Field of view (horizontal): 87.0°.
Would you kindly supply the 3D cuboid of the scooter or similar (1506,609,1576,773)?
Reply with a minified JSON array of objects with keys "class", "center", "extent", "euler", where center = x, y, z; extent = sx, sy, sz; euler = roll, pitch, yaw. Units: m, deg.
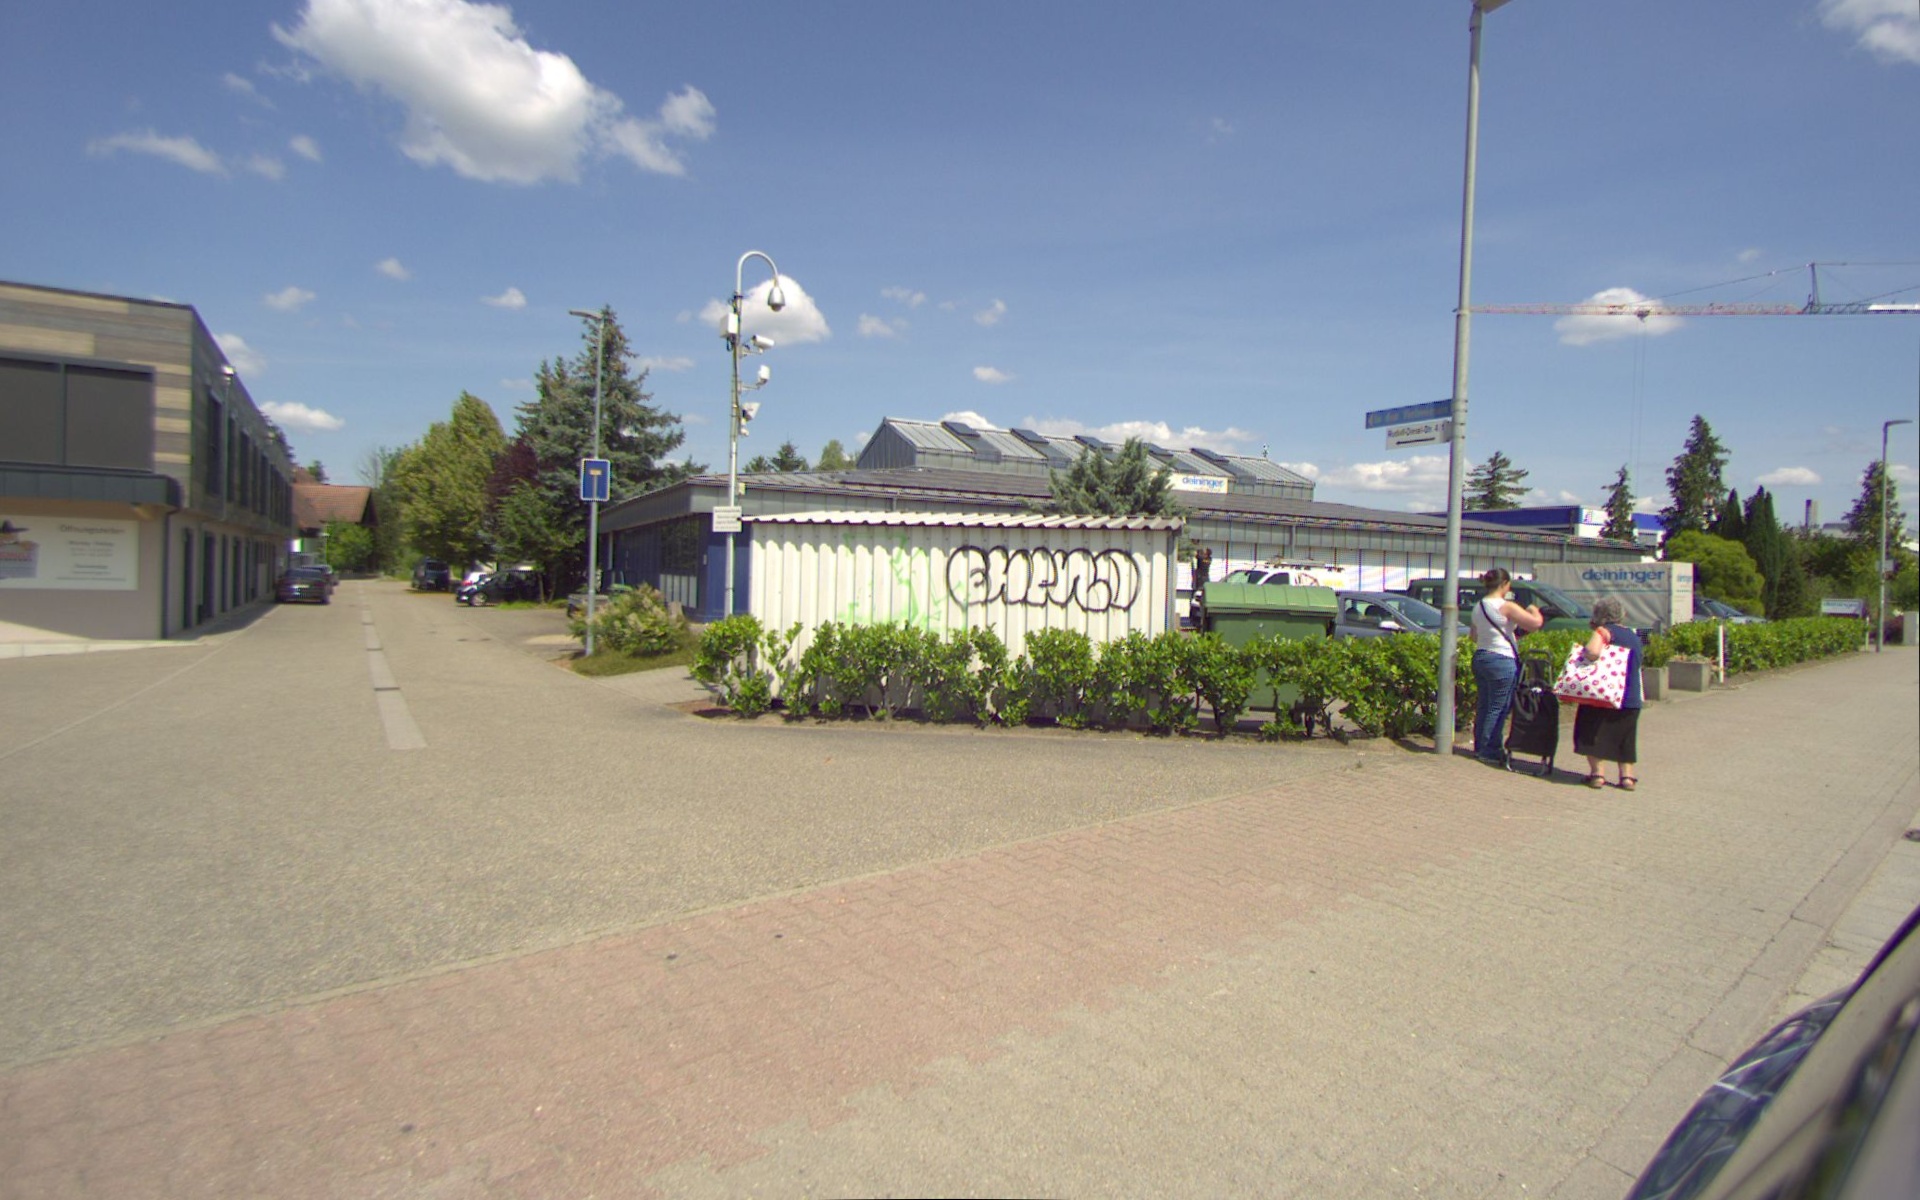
[{"class":"scooter or similar","center":[4.521,0.689,7.880],"extent":[0.391,1.212,0.334],"euler":[-2,4,-40]}]

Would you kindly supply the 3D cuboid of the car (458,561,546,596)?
[{"class":"car","center":[-23.246,-1.072,51.435],"extent":[3.797,1.693,1.682],"euler":[0,1,-39]}]

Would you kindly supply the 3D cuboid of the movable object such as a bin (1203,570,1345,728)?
[{"class":"movable object such as a bin","center":[3.081,0.450,10.074],"extent":[1.248,1.477,1.045],"euler":[0,0,12]}]

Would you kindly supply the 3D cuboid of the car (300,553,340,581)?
[{"class":"car","center":[-43.946,-2.284,69.482],"extent":[1.963,1.860,3.998],"euler":[0,1,-38]}]

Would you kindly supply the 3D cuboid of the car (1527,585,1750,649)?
[{"class":"car","center":[17.330,0.365,26.013],"extent":[1.785,1.458,4.478],"euler":[0,1,-44]}]

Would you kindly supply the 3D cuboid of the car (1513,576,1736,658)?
[{"class":"car","center":[15.231,0.307,23.345],"extent":[4.035,1.593,1.687],"euler":[3,4,44]}]

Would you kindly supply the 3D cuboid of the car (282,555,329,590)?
[{"class":"car","center":[-34.647,-1.452,53.515],"extent":[1.962,1.772,4.000],"euler":[0,1,-35]}]

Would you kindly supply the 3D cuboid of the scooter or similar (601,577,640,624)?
[{"class":"scooter or similar","center":[-10.373,-0.004,30.891],"extent":[0.907,1.337,1.116],"euler":[-1,3,-31]}]

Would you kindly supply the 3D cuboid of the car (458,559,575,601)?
[{"class":"car","center":[-19.851,-0.944,45.409],"extent":[4.532,1.692,1.762],"euler":[-3,4,-39]}]

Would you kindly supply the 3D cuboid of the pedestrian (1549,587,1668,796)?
[{"class":"pedestrian","center":[4.763,0.634,7.438],"extent":[0.574,1.422,0.566],"euler":[-2,4,-42]}]

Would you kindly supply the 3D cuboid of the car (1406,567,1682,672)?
[{"class":"car","center":[11.030,0.264,19.350],"extent":[1.770,1.653,4.220],"euler":[-2,4,-42]}]

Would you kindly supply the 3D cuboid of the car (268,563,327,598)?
[{"class":"car","center":[-27.680,-0.796,42.265],"extent":[1.962,1.393,4.001],"euler":[0,1,-34]}]

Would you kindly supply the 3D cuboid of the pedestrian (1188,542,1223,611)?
[{"class":"pedestrian","center":[7.127,-0.697,29.344],"extent":[0.679,1.966,0.717],"euler":[-2,4,-42]}]

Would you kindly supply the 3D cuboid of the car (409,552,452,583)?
[{"class":"car","center":[-36.418,-2.195,69.574],"extent":[1.963,2.039,3.998],"euler":[0,1,-38]}]

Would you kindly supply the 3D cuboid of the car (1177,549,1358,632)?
[{"class":"car","center":[8.590,-0.289,28.239],"extent":[4.620,2.151,2.111],"euler":[0,2,-27]}]

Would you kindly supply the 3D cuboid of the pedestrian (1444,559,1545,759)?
[{"class":"pedestrian","center":[4.381,0.452,8.305],"extent":[0.502,1.558,0.536],"euler":[0,3,-42]}]

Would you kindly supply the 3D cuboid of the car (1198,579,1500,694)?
[{"class":"car","center":[5.706,0.441,15.197],"extent":[1.785,1.474,3.853],"euler":[0,1,-40]}]

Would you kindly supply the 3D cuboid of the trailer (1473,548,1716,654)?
[{"class":"trailer","center":[13.431,-0.017,21.595],"extent":[1.965,2.039,3.994],"euler":[0,1,-41]}]

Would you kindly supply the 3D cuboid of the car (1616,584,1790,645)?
[{"class":"car","center":[19.832,0.343,27.114],"extent":[1.737,1.419,3.363],"euler":[0,2,-37]}]
